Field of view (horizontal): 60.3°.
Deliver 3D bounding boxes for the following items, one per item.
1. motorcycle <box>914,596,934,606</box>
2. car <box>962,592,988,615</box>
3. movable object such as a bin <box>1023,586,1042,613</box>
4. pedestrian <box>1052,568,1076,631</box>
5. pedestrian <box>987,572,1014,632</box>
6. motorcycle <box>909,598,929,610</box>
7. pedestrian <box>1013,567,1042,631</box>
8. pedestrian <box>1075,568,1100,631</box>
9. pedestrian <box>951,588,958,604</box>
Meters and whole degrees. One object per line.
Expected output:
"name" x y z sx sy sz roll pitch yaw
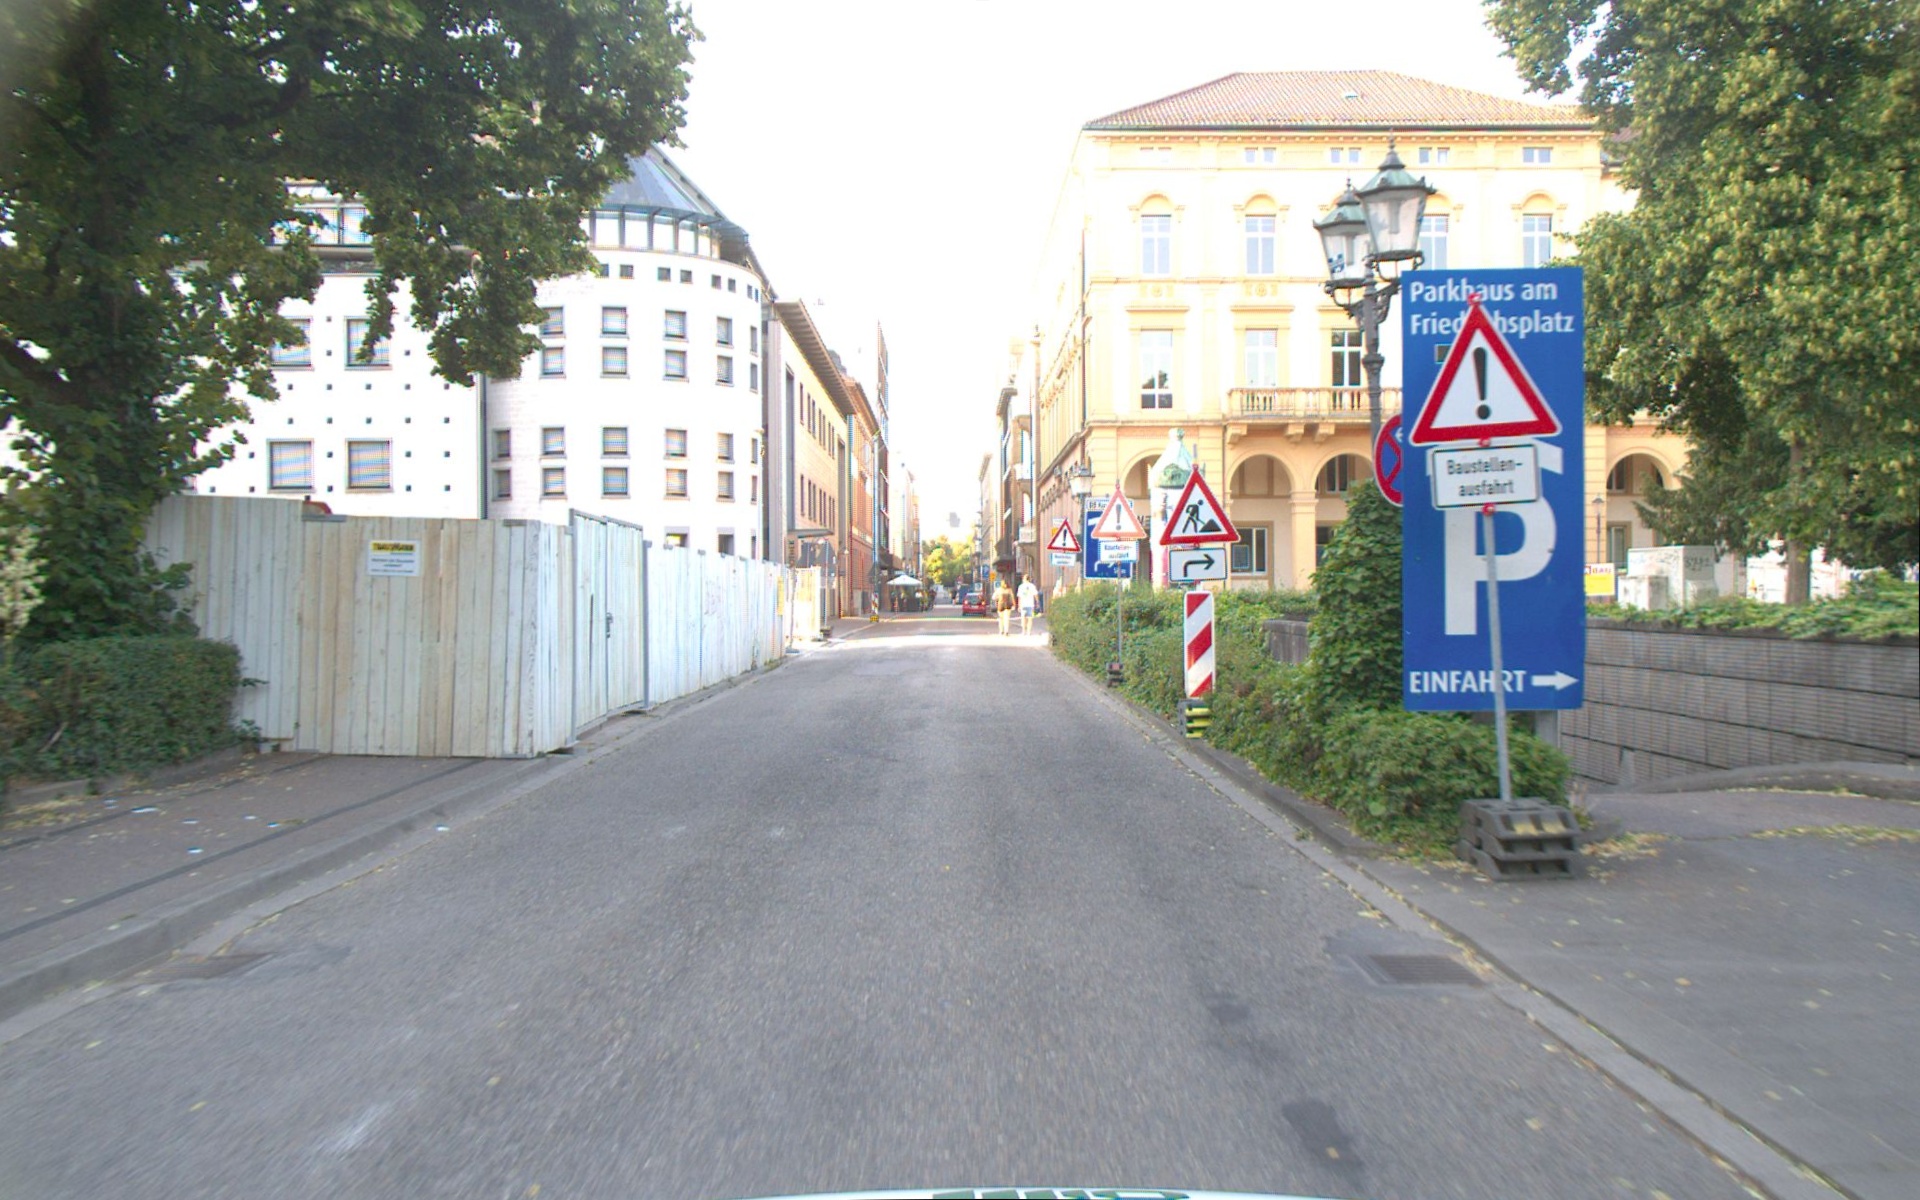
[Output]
"motorcycle" -3.261 0.125 150.311 1.766 0.891 0.560 0 0 -5
"car" 0.996 0.220 110.504 1.616 1.452 3.535 2 0 0
"movable object such as a bin" 3.922 -0.008 89.568 0.970 1.416 1.240 -1 0 -1
"pedestrian" 3.082 -0.001 48.919 0.623 1.835 0.771 -1 0 -1
"pedestrian" 1.228 0.052 50.174 0.760 1.777 0.875 -1 0 -2
"motorcycle" -3.523 0.360 142.122 1.766 1.059 0.493 0 0 -5
"pedestrian" 2.043 -0.034 50.310 0.795 1.908 0.875 -1 0 -2
"pedestrian" 3.768 -0.006 48.954 0.623 1.835 0.771 -1 0 -1
"pedestrian" -0.593 -0.452 179.358 0.788 1.702 0.888 -1 0 1
